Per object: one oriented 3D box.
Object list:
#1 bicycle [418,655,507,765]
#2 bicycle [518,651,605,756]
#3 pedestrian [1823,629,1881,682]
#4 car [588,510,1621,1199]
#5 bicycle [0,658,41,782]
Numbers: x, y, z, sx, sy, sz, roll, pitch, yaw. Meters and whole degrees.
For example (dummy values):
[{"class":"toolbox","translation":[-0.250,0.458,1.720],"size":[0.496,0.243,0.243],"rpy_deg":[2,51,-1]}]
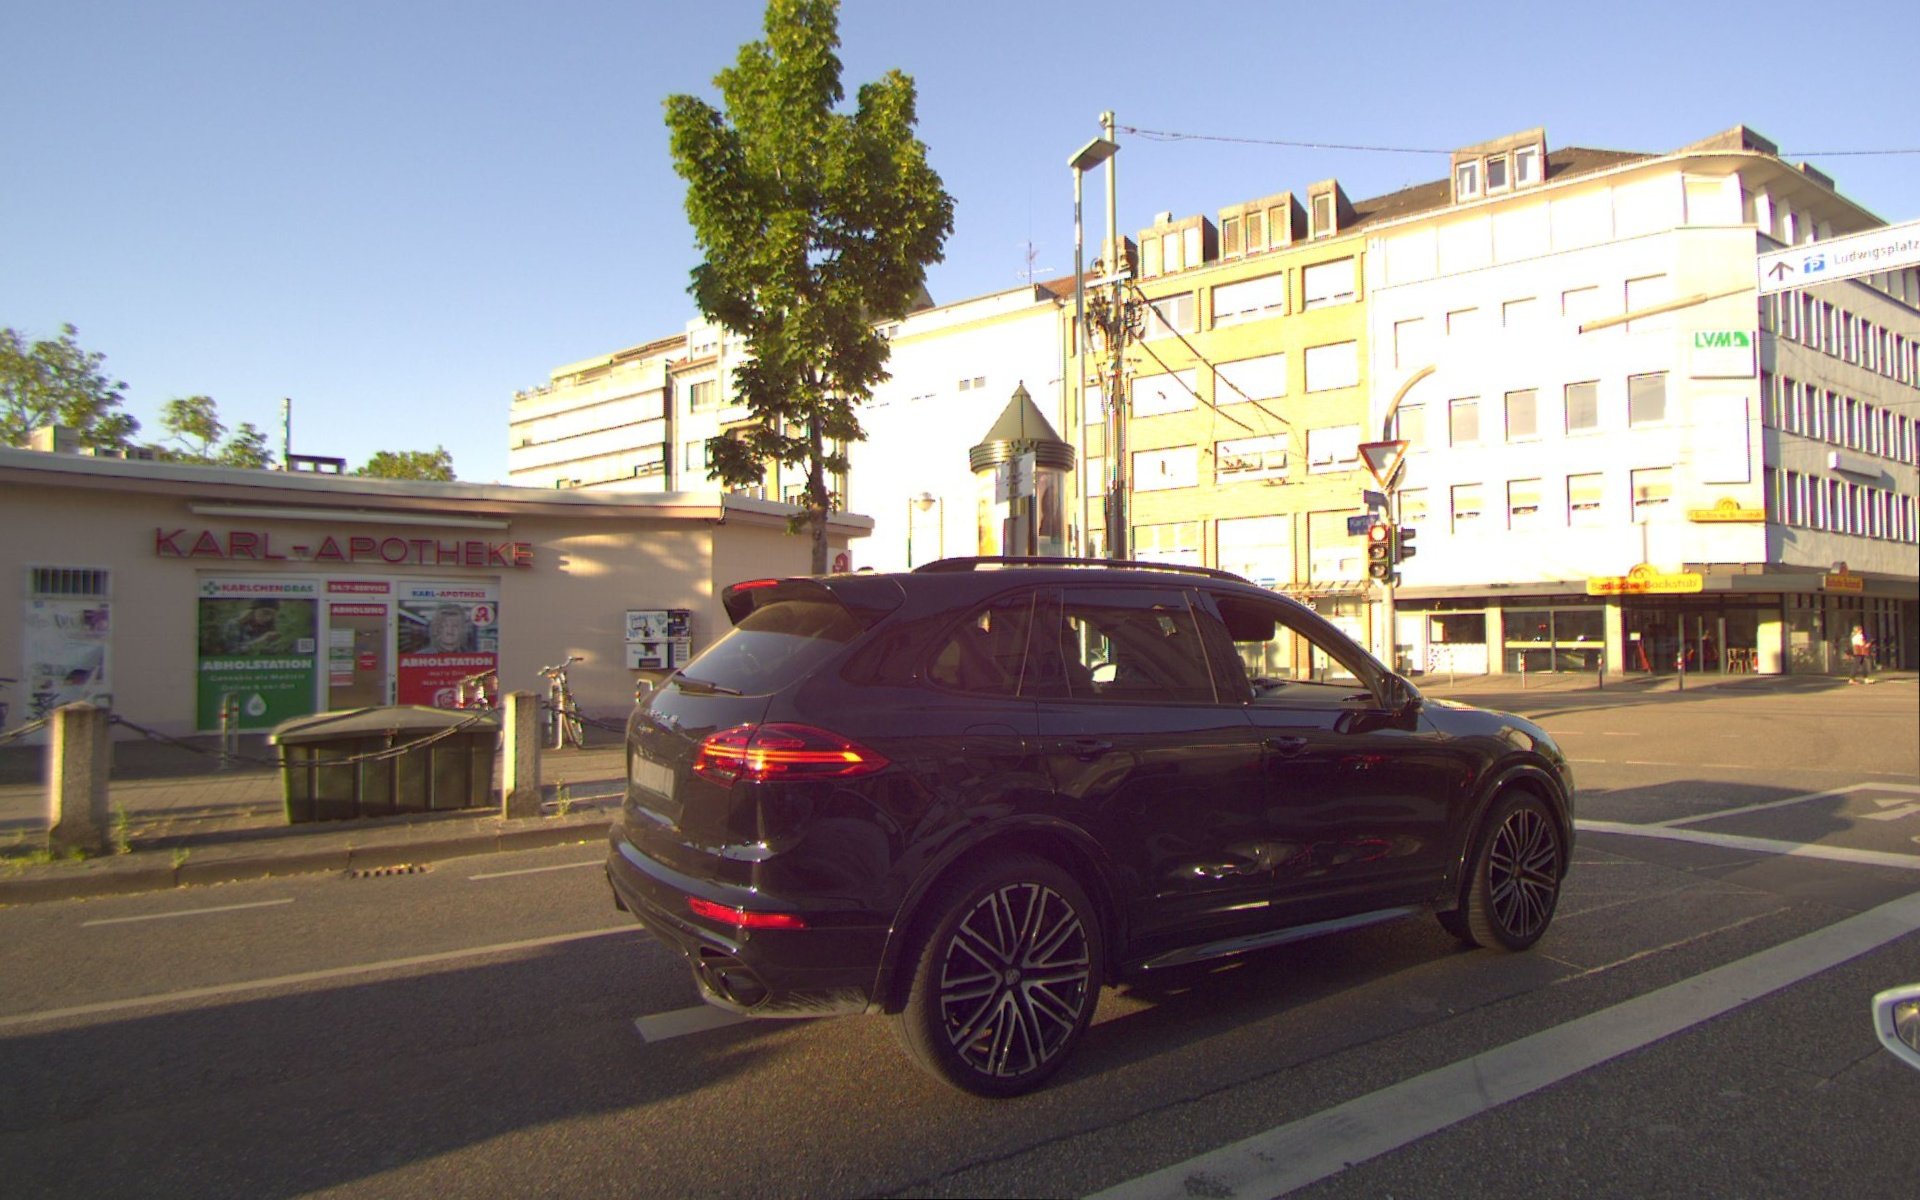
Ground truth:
[{"class":"bicycle","translation":[-6.444,1.359,12.951],"size":[0.938,1.273,1.997],"rpy_deg":[1,-3,-29]},{"class":"bicycle","translation":[-5.389,1.326,13.492],"size":[0.778,1.273,2.433],"rpy_deg":[1,-3,-29]},{"class":"pedestrian","translation":[26.476,1.636,29.824],"size":[0.930,1.557,0.909],"rpy_deg":[-1,-2,14]},{"class":"car","translation":[0.854,0.714,4.585],"size":[4.512,1.736,1.938],"rpy_deg":[1,-3,-33]},{"class":"bicycle","translation":[-10.331,1.248,10.500],"size":[0.625,1.273,1.846],"rpy_deg":[1,-3,-29]}]
